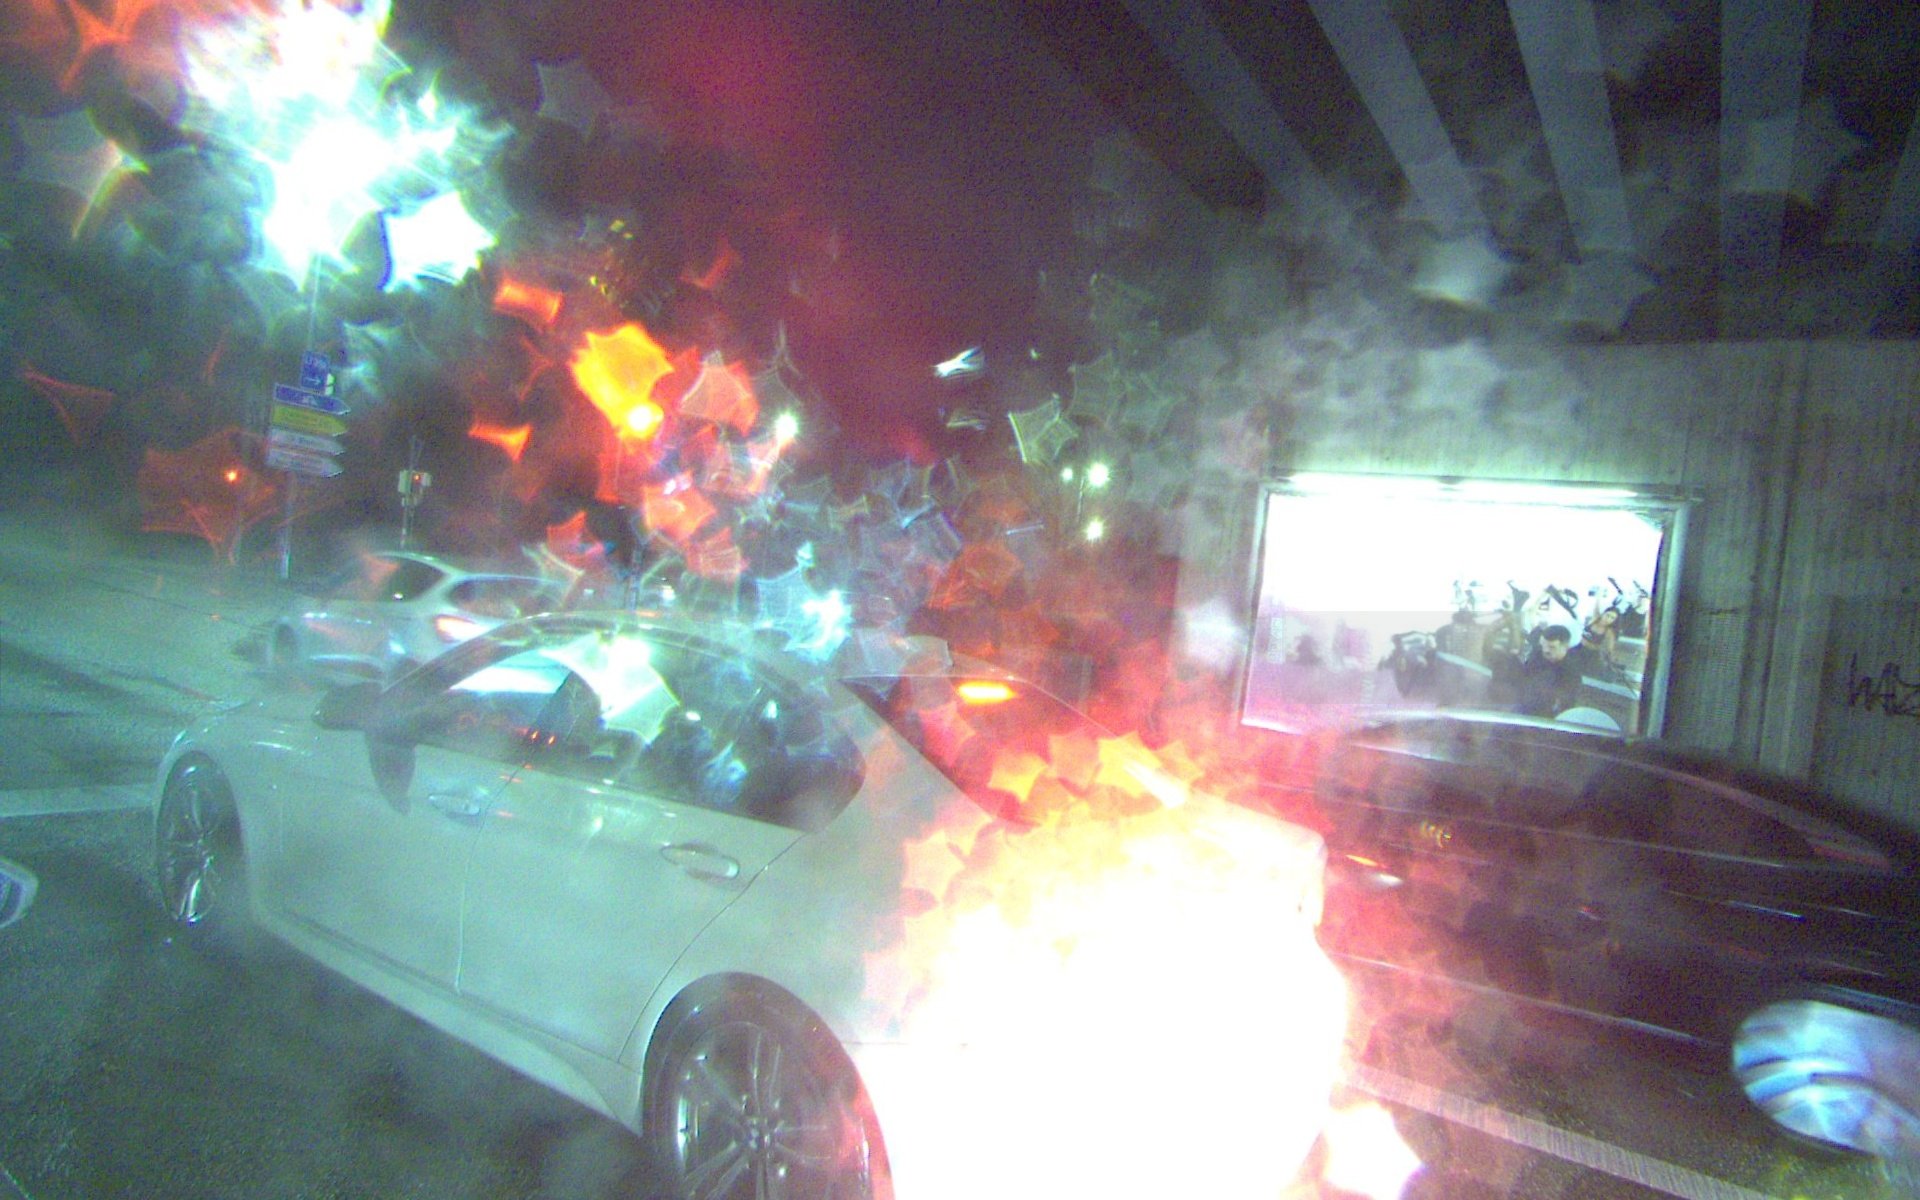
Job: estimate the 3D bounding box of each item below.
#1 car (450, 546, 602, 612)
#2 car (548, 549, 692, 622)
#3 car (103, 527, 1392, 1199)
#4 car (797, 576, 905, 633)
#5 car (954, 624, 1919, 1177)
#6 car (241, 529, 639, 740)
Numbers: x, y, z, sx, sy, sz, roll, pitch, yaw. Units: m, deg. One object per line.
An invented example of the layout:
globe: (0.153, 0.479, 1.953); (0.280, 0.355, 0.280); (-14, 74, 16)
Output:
car: (-14.133, -0.654, 32.956); (1.885, 1.605, 4.069); (3, -4, 38)
car: (-13.257, -0.514, 39.506); (2.108, 2.169, 4.919); (6, -2, 34)
car: (-0.987, 0.704, 3.510); (4.277, 1.420, 1.720); (6, -2, 32)
car: (-4.935, 0.249, 46.378); (1.968, 2.008, 5.096); (7, -1, 34)
car: (2.427, 1.160, 4.870); (4.486, 1.406, 1.757); (7, -1, 28)
car: (-4.973, 0.290, 9.532); (3.534, 1.476, 1.637); (6, -2, 32)
